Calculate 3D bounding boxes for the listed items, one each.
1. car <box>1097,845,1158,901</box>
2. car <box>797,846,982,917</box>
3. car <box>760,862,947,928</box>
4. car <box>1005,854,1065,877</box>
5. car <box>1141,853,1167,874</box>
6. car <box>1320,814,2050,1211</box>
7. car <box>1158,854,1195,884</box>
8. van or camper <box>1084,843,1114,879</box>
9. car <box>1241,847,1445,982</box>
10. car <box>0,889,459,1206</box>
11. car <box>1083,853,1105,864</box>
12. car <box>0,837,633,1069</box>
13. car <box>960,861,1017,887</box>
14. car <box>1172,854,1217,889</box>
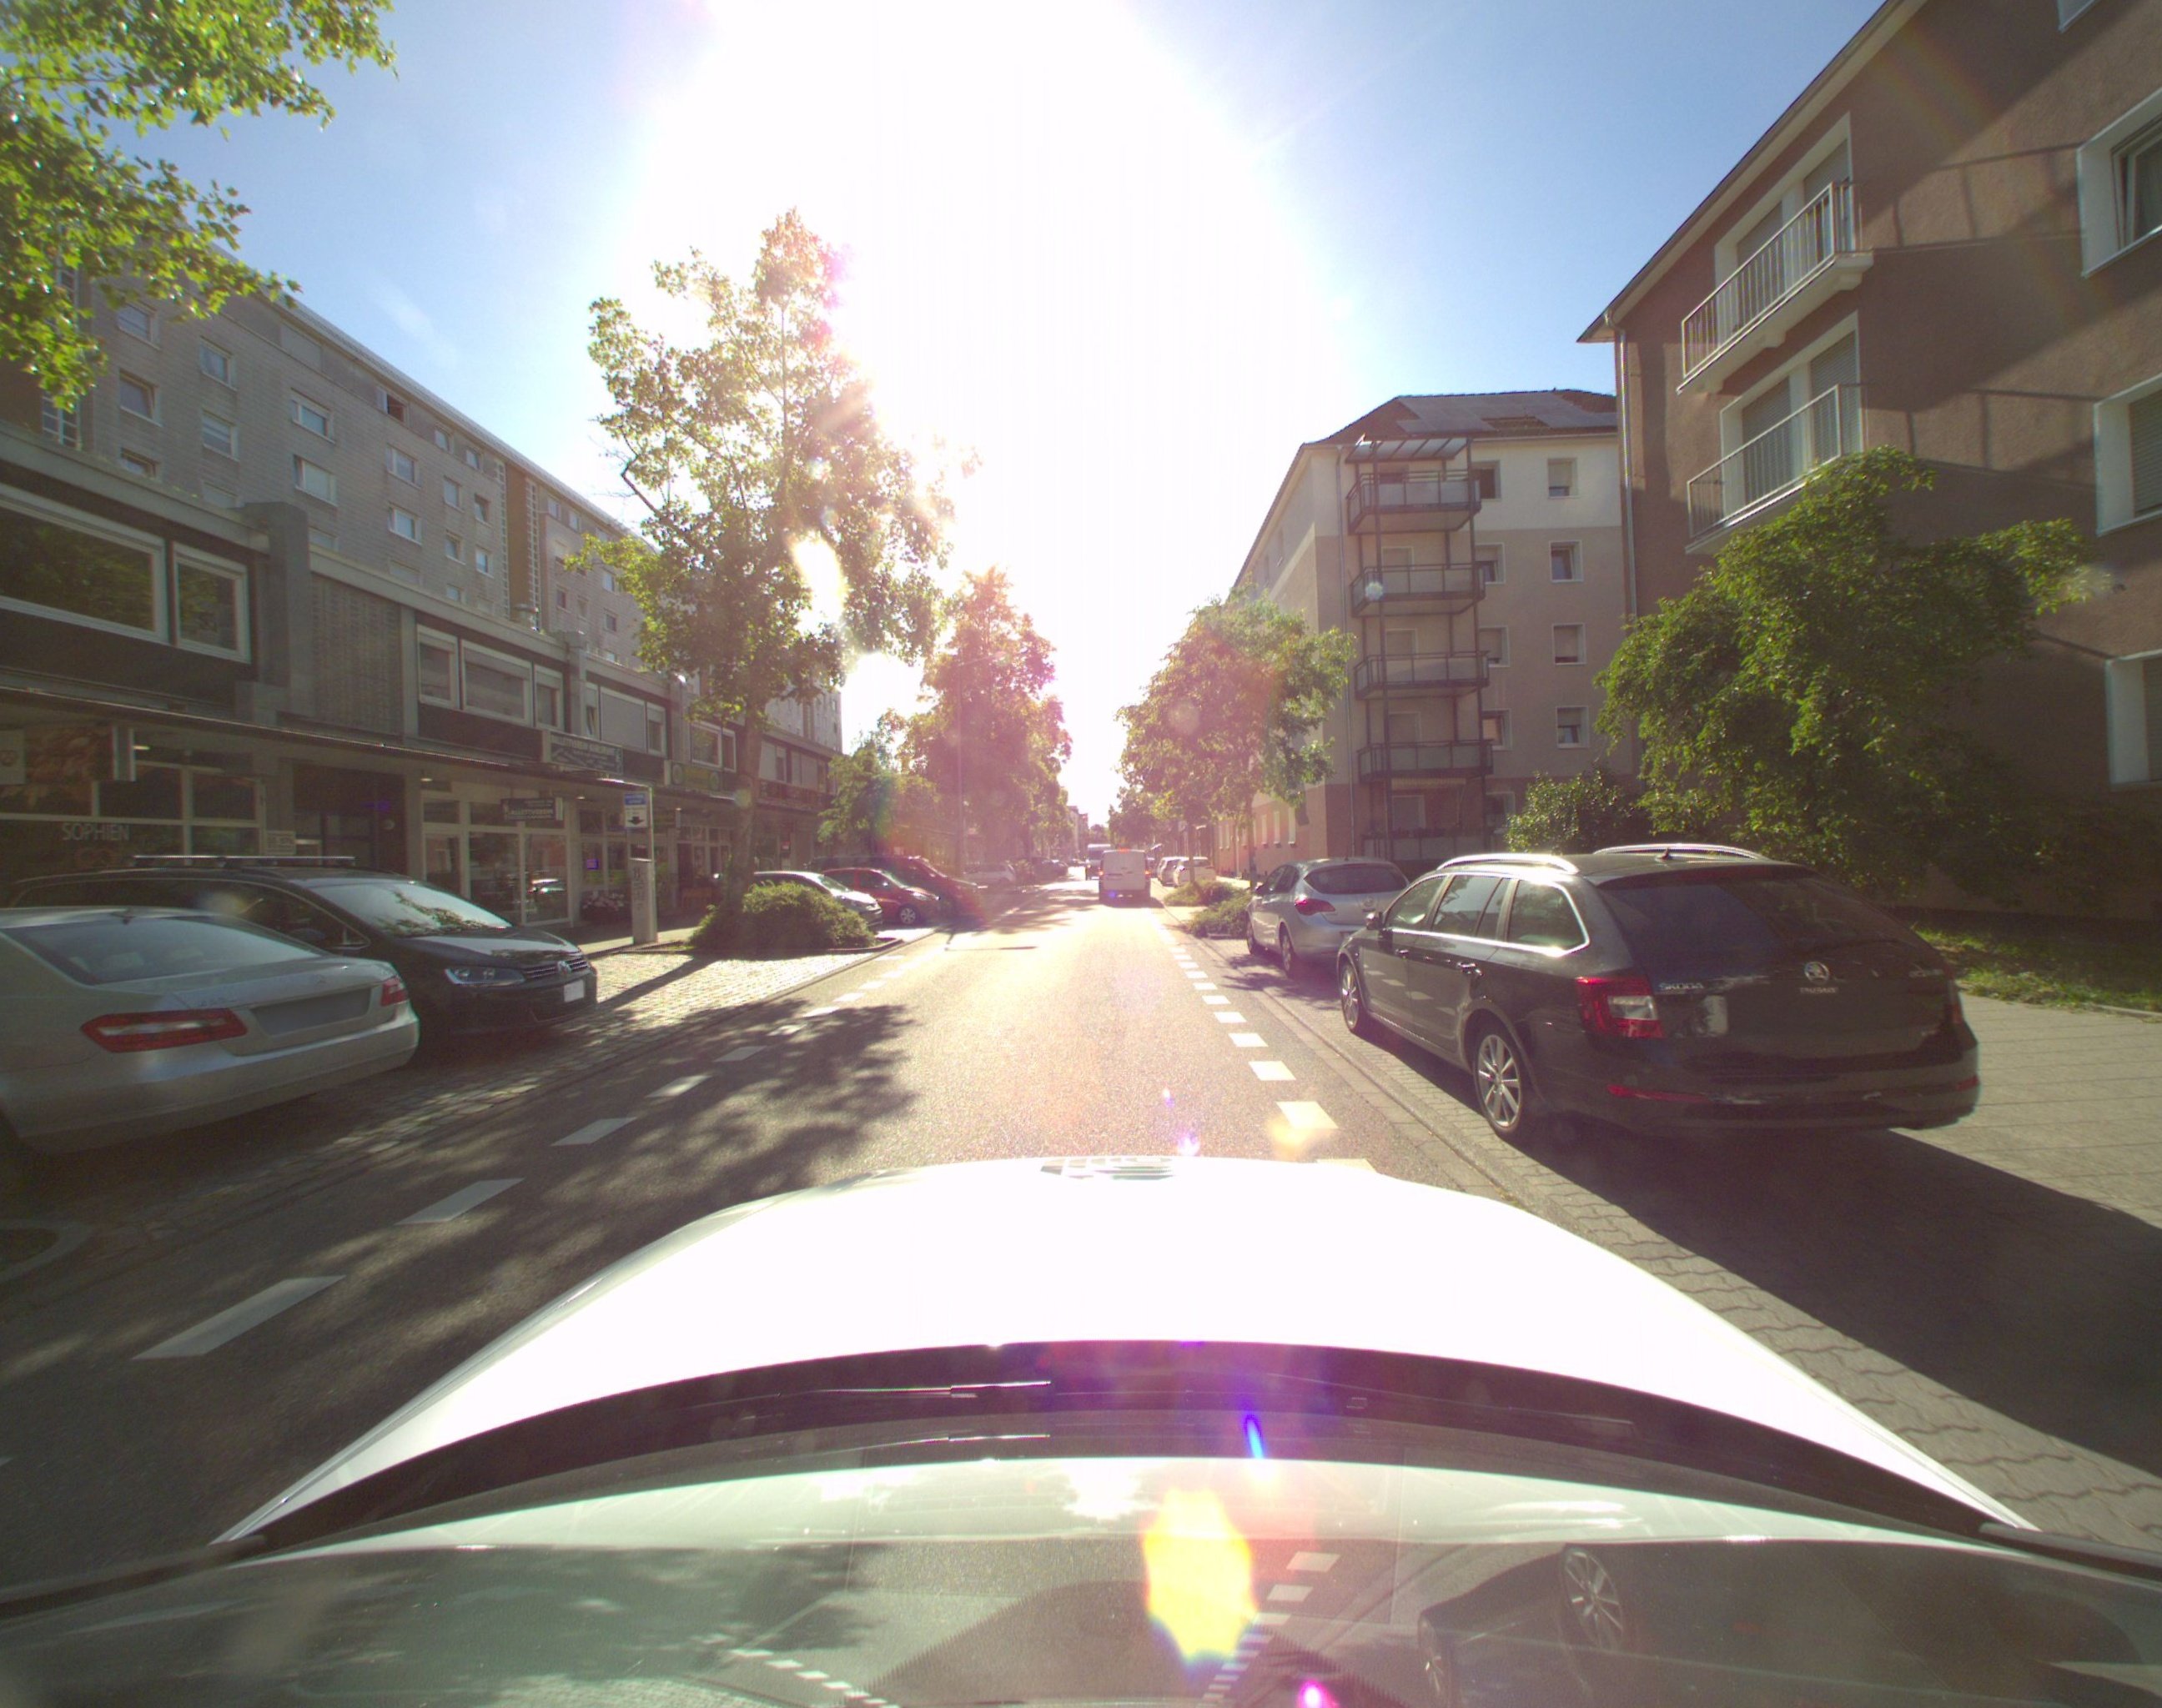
[{"bbox_3d":[1.709,0.665,31.317,2.093,1.907,5.426,-2,0,1],"label":"car"},{"bbox_3d":[-5.777,0.811,24.980,5.195,1.981,1.662,-1,0,0],"label":"car"},{"bbox_3d":[-6.182,1.097,22.430,4.611,1.610,1.662,-1,0,0],"label":"car"},{"bbox_3d":[-4.089,1.017,72.862,5.195,1.981,1.662,-1,0,0],"label":"car"},{"bbox_3d":[5.493,0.697,61.605,1.733,1.519,3.860,-2,0,3],"label":"car"},{"bbox_3d":[3.055,0.650,5.444,1.776,1.519,4.311,-3,0,3],"label":"car"},{"bbox_3d":[5.120,0.769,44.044,1.733,1.519,3.860,-2,0,3],"label":"car"},{"bbox_3d":[1.390,0.496,59.816,1.986,2.475,5.823,-2,0,2],"label":"van or camper"},{"bbox_3d":[3.429,0.707,11.411,1.733,1.519,3.860,-2,0,3],"label":"car"},{"bbox_3d":[-6.865,1.053,4.979,4.641,1.494,1.827,-1,0,-1],"label":"car"},{"bbox_3d":[2.425,0.823,151.310,3.977,2.013,1.998,-2,0,-3],"label":"car"},{"bbox_3d":[-7.030,0.822,7.620,4.611,1.804,1.837,-1,0,0],"label":"car"},{"bbox_3d":[-5.405,1.174,47.976,3.088,1.409,1.662,-1,0,0],"label":"car"},{"bbox_3d":[5.286,0.795,38.314,1.733,1.519,3.860,-2,0,3],"label":"car"}]
